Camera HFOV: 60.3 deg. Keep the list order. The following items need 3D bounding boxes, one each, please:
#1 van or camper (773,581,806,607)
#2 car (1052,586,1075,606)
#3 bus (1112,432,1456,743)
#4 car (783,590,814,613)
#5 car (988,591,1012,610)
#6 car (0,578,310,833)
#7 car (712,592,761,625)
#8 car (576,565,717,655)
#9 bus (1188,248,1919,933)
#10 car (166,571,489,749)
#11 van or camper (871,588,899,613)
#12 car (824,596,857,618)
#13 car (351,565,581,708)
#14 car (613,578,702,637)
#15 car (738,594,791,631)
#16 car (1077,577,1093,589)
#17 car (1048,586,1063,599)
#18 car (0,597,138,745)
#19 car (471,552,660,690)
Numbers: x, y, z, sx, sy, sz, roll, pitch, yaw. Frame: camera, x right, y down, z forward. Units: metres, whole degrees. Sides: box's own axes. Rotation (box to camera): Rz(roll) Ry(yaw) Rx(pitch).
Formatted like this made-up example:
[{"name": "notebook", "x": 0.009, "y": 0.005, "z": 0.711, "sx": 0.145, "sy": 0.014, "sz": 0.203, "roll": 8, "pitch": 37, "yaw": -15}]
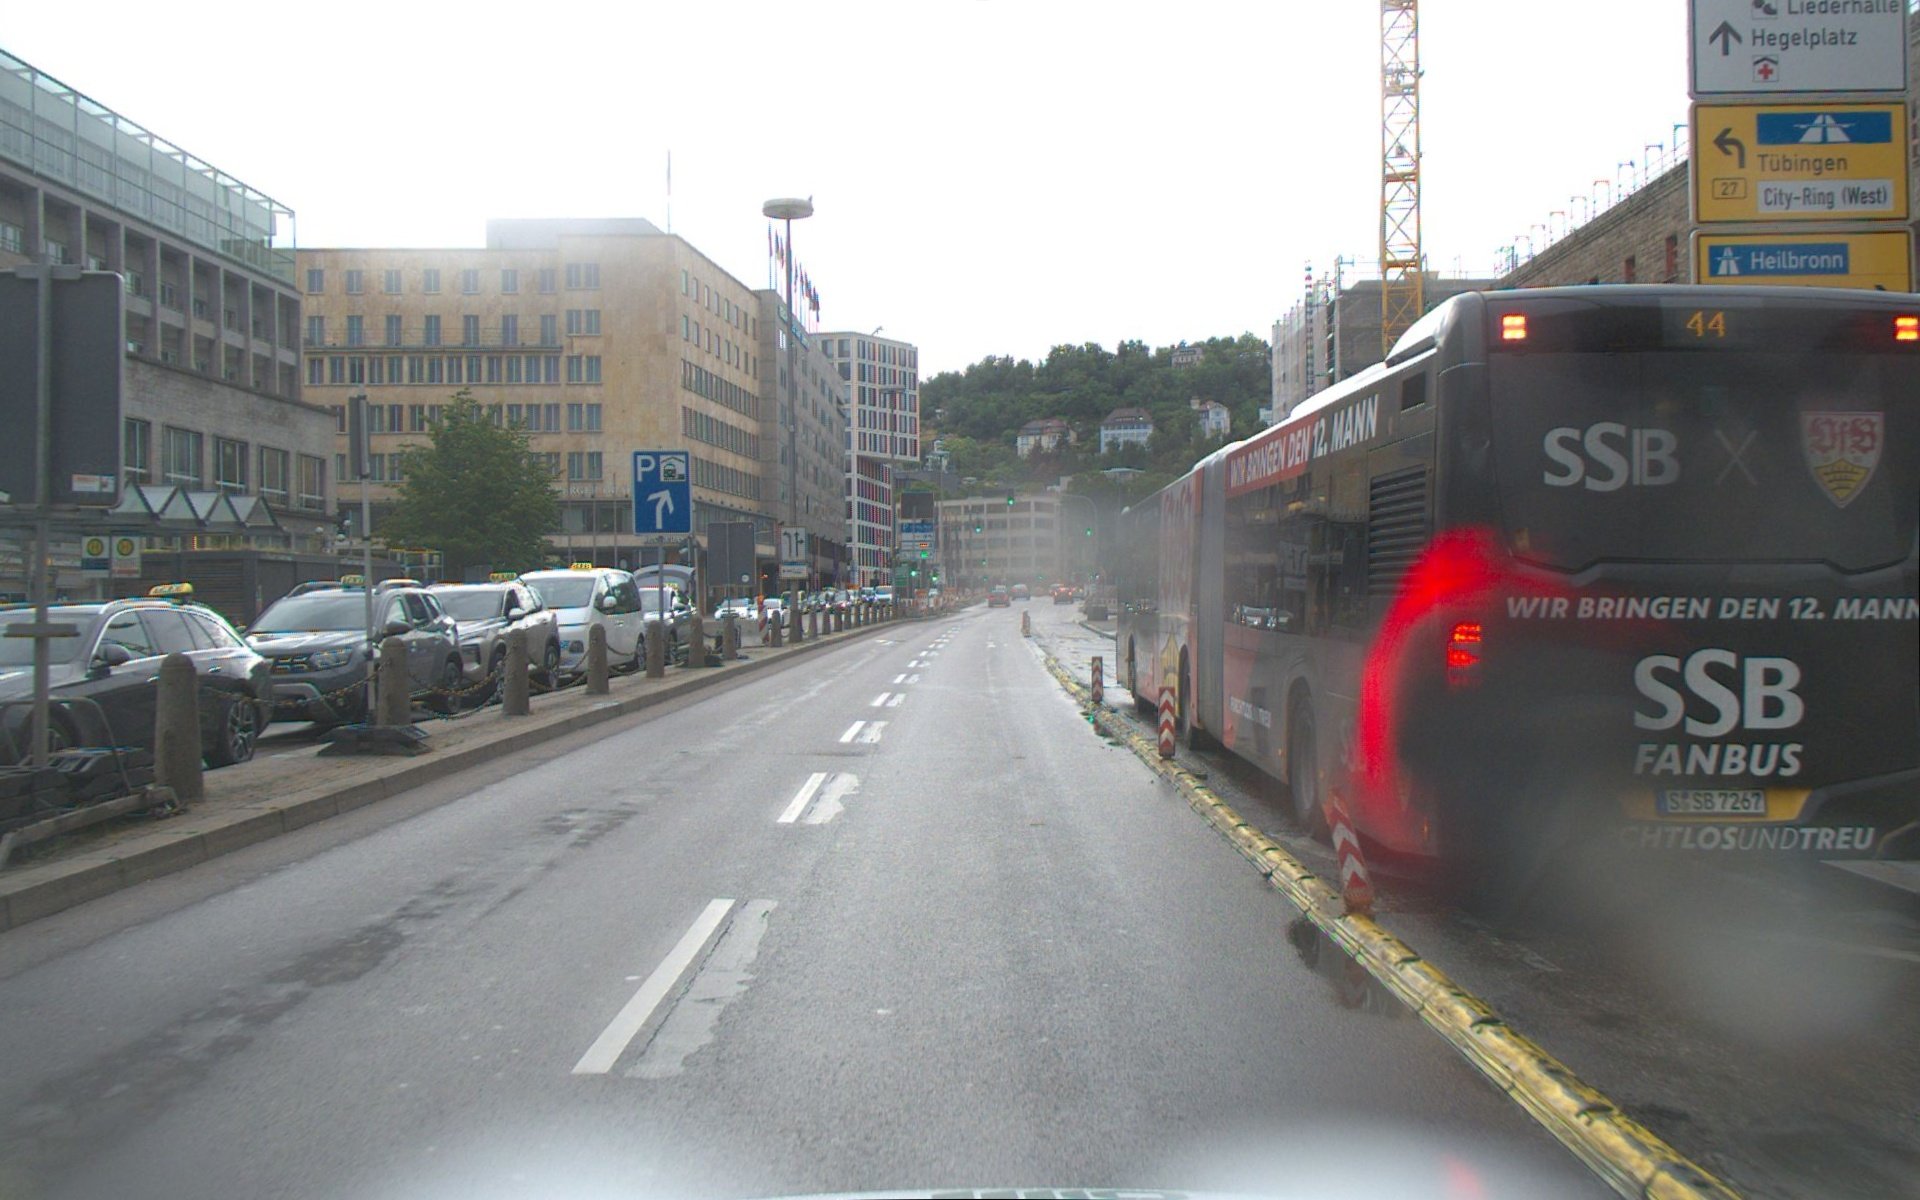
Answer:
[{"name": "van or camper", "x": -13.723, "y": -0.459, "z": 133.161, "sx": 1.952, "sy": 2.049, "sz": 4.967, "roll": 0, "pitch": 0, "yaw": 3}, {"name": "car", "x": 9.522, "y": -0.366, "z": 152.019, "sx": 1.952, "sy": 1.735, "sz": 4.001, "roll": -1, "pitch": 0, "yaw": 2}, {"name": "bus", "x": 3.680, "y": -0.152, "z": 21.159, "sx": 2.698, "sy": 3.119, "sz": 8.993, "roll": 0, "pitch": 0, "yaw": 0}, {"name": "car", "x": -13.586, "y": 0.087, "z": 138.946, "sx": 1.952, "sy": 1.870, "sz": 4.002, "roll": 0, "pitch": 0, "yaw": 4}, {"name": "car", "x": 3.481, "y": 0.038, "z": 144.502, "sx": 1.952, "sy": 1.579, "sz": 4.001, "roll": -1, "pitch": 0, "yaw": 1}, {"name": "car", "x": -7.020, "y": 0.693, "z": 12.920, "sx": 1.890, "sy": 1.604, "sz": 5.051, "roll": -3, "pitch": 0, "yaw": -1}, {"name": "car", "x": -12.143, "y": 0.446, "z": 90.136, "sx": 1.922, "sy": 1.591, "sz": 4.836, "roll": -3, "pitch": 1, "yaw": 0}, {"name": "car", "x": -6.625, "y": 0.165, "z": 35.512, "sx": 1.952, "sy": 1.752, "sz": 4.783, "roll": -1, "pitch": 1, "yaw": 2}, {"name": "bus", "x": 3.612, "y": -0.072, "z": 12.101, "sx": 2.698, "sy": 3.122, "sz": 9.080, "roll": 0, "pitch": 0, "yaw": 0}, {"name": "car", "x": -7.138, "y": 0.598, "z": 19.294, "sx": 1.890, "sy": 1.728, "sz": 4.884, "roll": -3, "pitch": 0, "yaw": -1}, {"name": "van or camper", "x": -6.574, "y": 0.020, "z": 145.368, "sx": 1.952, "sy": 2.049, "sz": 5.192, "roll": -1, "pitch": 0, "yaw": 4}, {"name": "car", "x": -9.677, "y": 0.529, "z": 134.024, "sx": 1.952, "sy": 1.645, "sz": 4.980, "roll": -1, "pitch": 0, "yaw": 4}, {"name": "car", "x": -7.132, "y": 0.470, "z": 24.407, "sx": 1.890, "sy": 1.837, "sz": 4.583, "roll": -3, "pitch": 0, "yaw": 1}, {"name": "car", "x": -8.705, "y": 0.200, "z": 47.888, "sx": 1.953, "sy": 1.579, "sz": 3.998, "roll": -1, "pitch": 0, "yaw": -2}, {"name": "car", "x": -9.638, "y": 0.594, "z": 81.754, "sx": 1.922, "sy": 1.591, "sz": 4.836, "roll": -3, "pitch": 1, "yaw": 0}, {"name": "car", "x": 17.257, "y": -2.350, "z": 228.156, "sx": 1.952, "sy": 1.467, "sz": 4.001, "roll": 0, "pitch": 1, "yaw": 1}, {"name": "car", "x": 12.041, "y": -0.944, "z": 208.422, "sx": 1.781, "sy": 1.467, "sz": 4.001, "roll": 0, "pitch": 1, "yaw": 2}, {"name": "car", "x": -13.603, "y": 0.929, "z": 23.401, "sx": 1.953, "sy": 1.860, "sz": 4.119, "roll": 0, "pitch": 1, "yaw": -2}, {"name": "car", "x": -6.973, "y": 0.299, "z": 29.907, "sx": 1.952, "sy": 2.216, "sz": 5.545, "roll": -1, "pitch": 1, "yaw": 1}]
